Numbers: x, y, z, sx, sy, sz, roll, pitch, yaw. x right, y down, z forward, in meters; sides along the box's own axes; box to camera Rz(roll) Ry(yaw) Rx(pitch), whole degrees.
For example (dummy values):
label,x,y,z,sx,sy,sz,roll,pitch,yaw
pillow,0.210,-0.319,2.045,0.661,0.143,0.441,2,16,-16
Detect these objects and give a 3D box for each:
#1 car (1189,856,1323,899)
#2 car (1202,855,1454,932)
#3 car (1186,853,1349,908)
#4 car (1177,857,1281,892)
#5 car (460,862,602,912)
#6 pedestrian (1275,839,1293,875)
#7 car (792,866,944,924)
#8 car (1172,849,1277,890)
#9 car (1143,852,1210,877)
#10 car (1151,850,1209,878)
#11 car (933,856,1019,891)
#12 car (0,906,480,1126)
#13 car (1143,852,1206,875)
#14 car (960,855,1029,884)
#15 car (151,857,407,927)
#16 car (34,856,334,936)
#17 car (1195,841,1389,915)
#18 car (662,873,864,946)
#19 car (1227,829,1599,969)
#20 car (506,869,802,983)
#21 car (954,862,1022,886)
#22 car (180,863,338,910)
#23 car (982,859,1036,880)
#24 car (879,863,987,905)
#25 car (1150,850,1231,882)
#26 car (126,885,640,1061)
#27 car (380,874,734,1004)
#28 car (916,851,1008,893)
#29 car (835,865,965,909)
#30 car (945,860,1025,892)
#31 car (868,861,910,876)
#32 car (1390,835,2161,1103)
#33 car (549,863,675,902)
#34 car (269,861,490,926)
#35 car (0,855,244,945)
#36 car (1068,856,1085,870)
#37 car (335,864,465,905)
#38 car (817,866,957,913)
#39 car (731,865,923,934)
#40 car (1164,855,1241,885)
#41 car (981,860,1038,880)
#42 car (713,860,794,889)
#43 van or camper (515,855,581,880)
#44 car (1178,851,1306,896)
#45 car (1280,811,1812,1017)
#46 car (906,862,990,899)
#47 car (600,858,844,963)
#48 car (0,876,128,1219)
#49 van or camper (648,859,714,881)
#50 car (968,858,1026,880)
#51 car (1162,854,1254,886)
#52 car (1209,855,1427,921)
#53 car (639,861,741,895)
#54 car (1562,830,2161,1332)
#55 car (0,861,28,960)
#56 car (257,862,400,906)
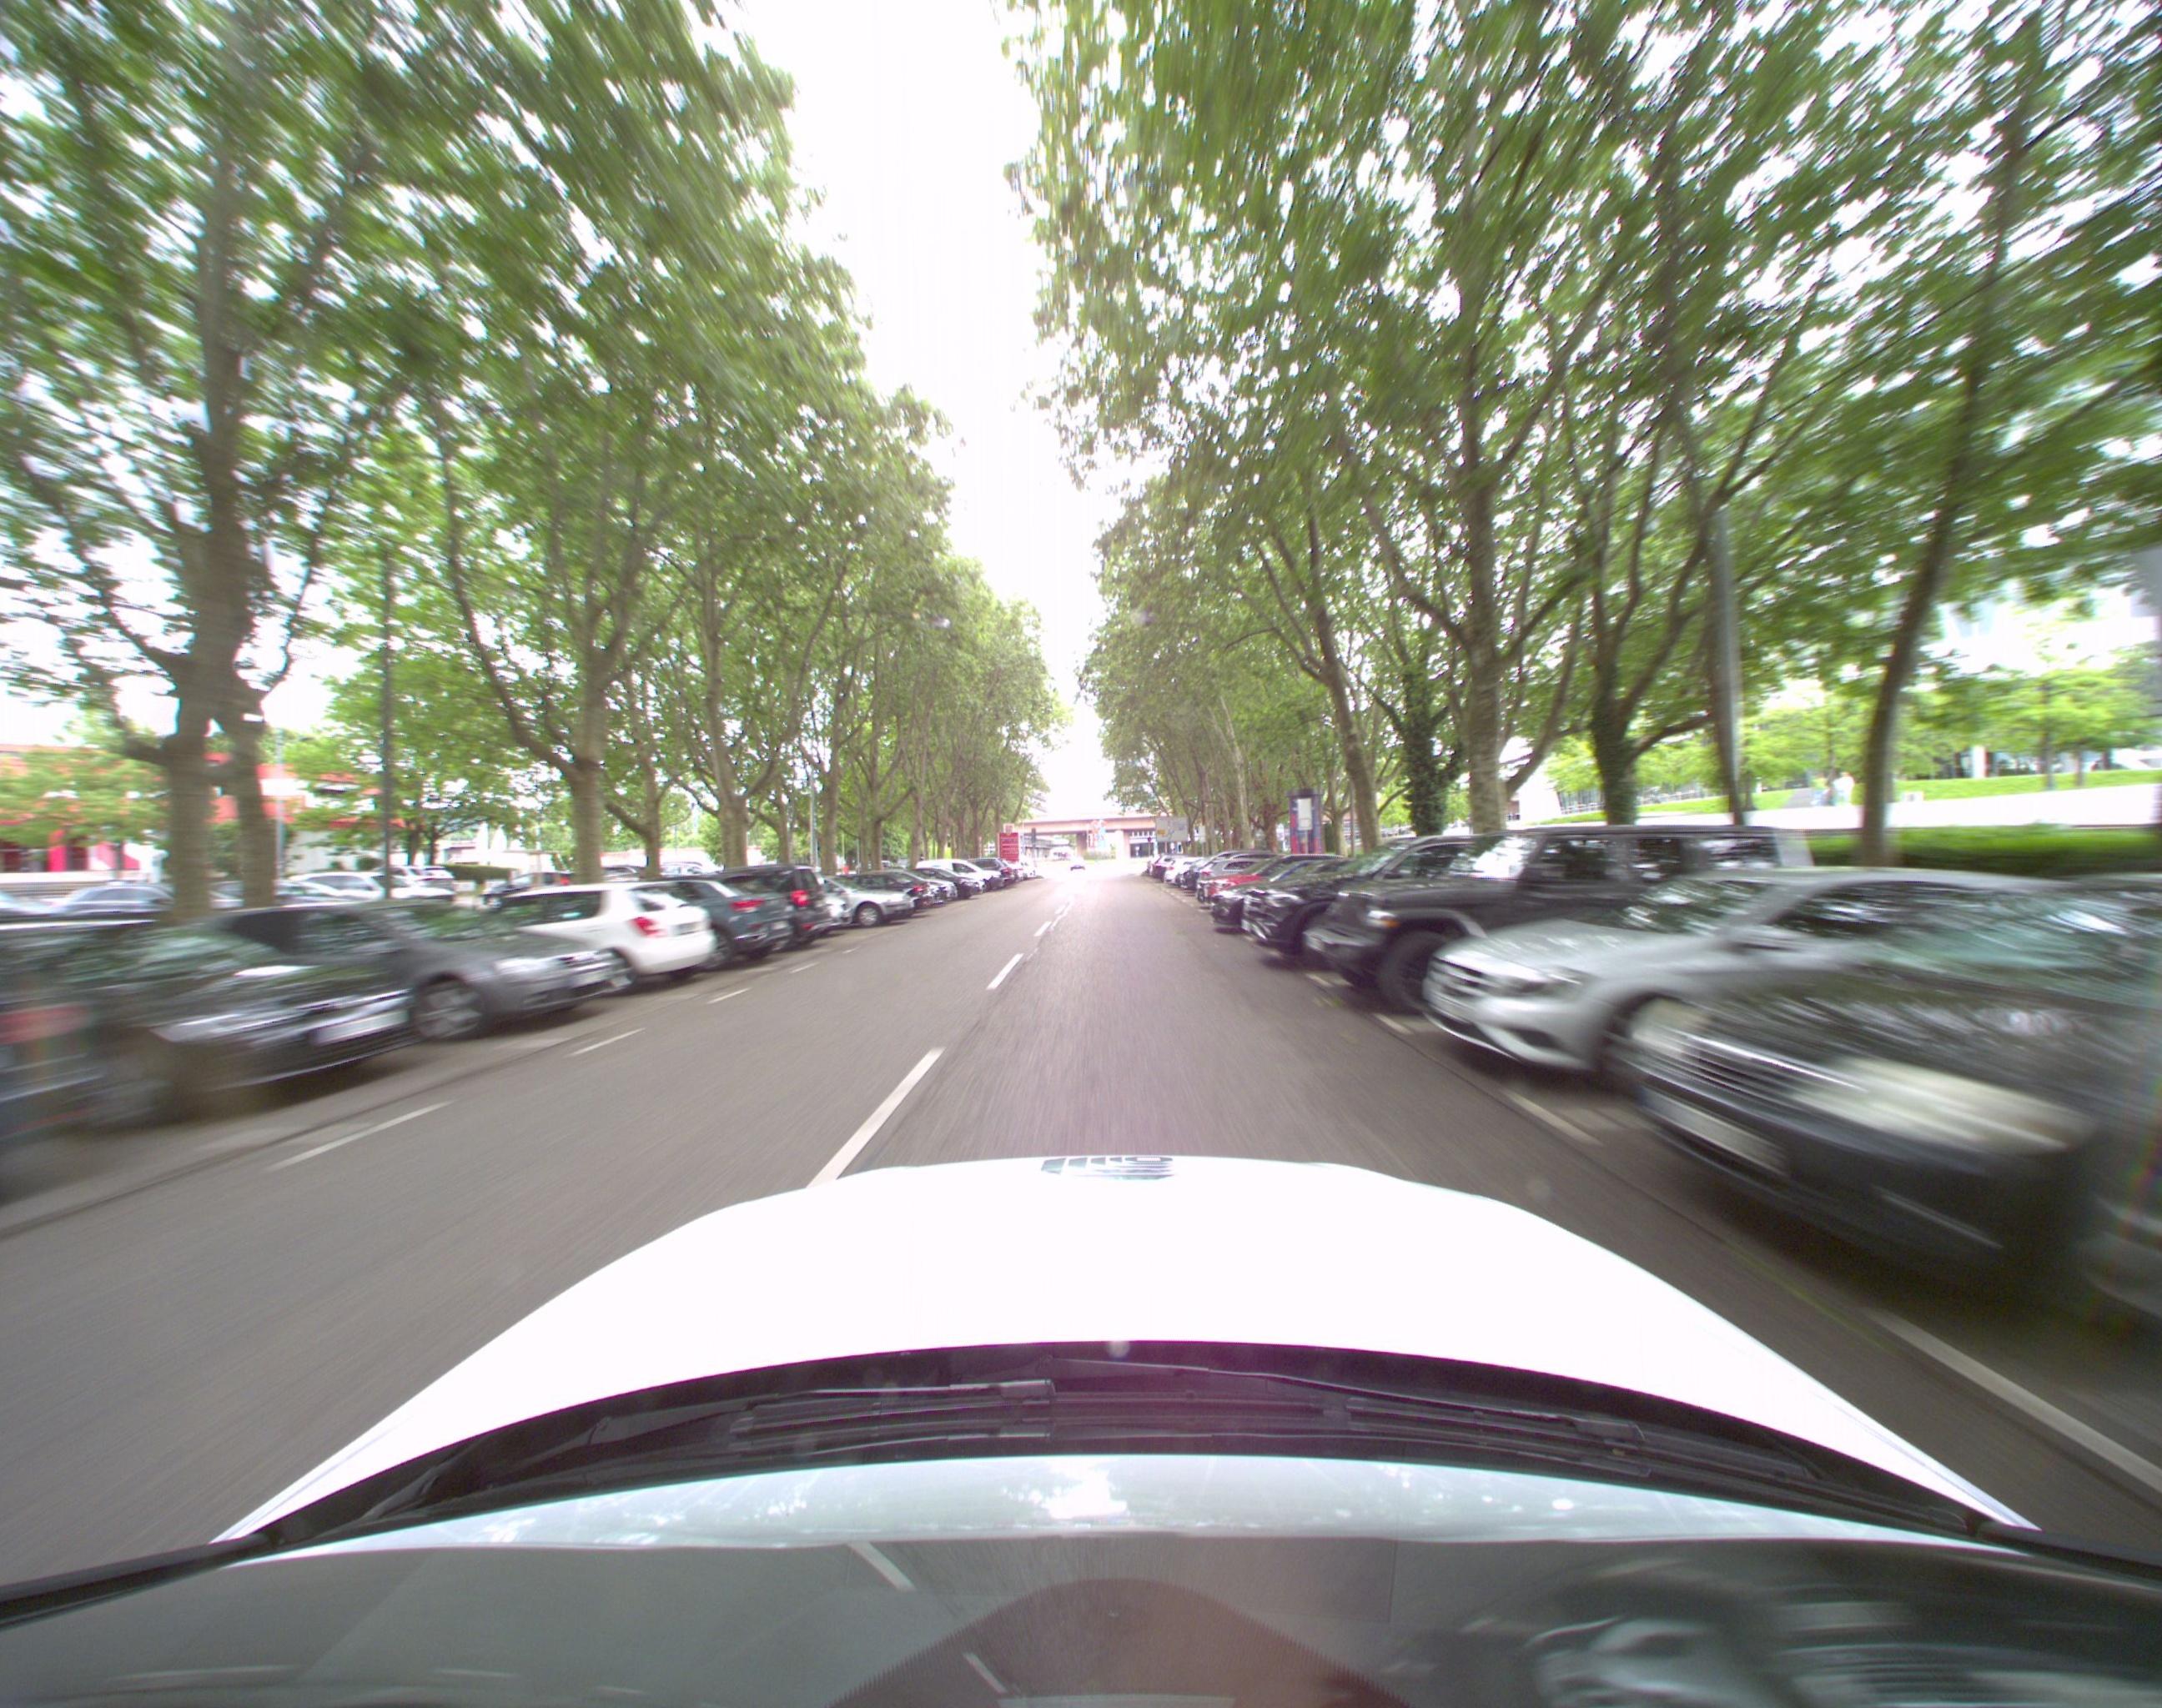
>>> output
label,x,y,z,sx,sy,sz,roll,pitch,yaw
car,6.019,0.789,28.439,4.329,1.413,1.927,0,0,2
car,4.753,0.741,16.215,4.477,1.428,1.933,0,0,2
car,5.408,0.740,23.954,4.338,1.502,1.923,0,0,-4
car,6.028,0.837,33.523,4.025,1.380,1.745,0,0,2
car,-22.125,1.297,32.892,4.306,1.861,2.028,-1,-1,0
pedestrian,11.550,0.185,46.309,0.786,2.014,0.596,-1,-1,-15
car,-6.190,1.163,23.944,3.918,1.398,1.703,-3,0,0
car,6.267,0.645,35.896,4.332,1.745,1.837,0,0,0
car,6.272,0.681,53.818,4.329,1.633,1.927,0,0,2
car,7.042,0.701,58.413,3.971,2.013,2.001,0,0,2
car,-5.623,1.043,43.939,4.301,1.795,2.037,-1,-1,2
car,-7.467,1.179,6.474,3.974,1.369,1.844,-1,-1,0
car,6.681,0.652,58.474,4.329,1.633,1.927,0,0,2
car,-5.702,1.000,53.915,4.250,1.548,1.908,-4,-1,-1
car,-22.238,1.023,22.767,4.926,1.797,2.182,-1,-1,-1
car,-22.060,0.994,20.226,4.926,1.797,2.182,-1,-1,-1
car,5.387,0.571,21.171,4.487,1.796,2.044,0,0,-5
car,-7.309,1.253,19.021,3.918,1.364,1.827,-3,0,0
car,4.465,0.575,11.539,4.479,1.796,2.048,0,0,1
car,-6.942,1.140,13.546,3.918,1.516,1.728,-3,0,0
car,-5.824,1.236,51.291,3.973,1.404,1.885,-1,-1,0
car,-34.376,1.324,34.150,4.554,1.855,2.301,-1,-1,6
car,-5.662,1.193,64.002,3.977,1.540,1.806,-1,-1,3
car,-6.082,1.207,33.650,3.960,1.421,1.758,-4,0,5
car,6.126,0.663,46.004,4.332,1.761,1.925,0,0,0
car,-7.262,1.188,8.792,3.980,1.420,1.703,-3,0,0
car,-7.333,1.161,11.611,3.973,1.485,1.706,-3,0,6
car,-5.991,0.907,41.430,4.306,1.810,1.866,-3,0,-2
car,-6.899,1.247,31.346,4.447,1.369,1.880,-3,0,1
car,-5.437,1.234,46.376,4.111,1.452,2.015,-4,0,3
car,-20.347,1.526,86.443,3.971,1.523,2.003,-1,-1,2
car,4.839,0.673,5.925,4.474,1.572,2.050,0,0,4
car,-21.890,1.304,38.153,4.536,1.725,2.297,-1,-1,0
car,-21.844,1.201,25.547,4.927,1.797,2.182,-2,0,-1
car,-21.907,0.966,17.787,4.926,1.797,2.182,-1,-1,-1
car,-0.510,1.060,97.026,1.836,1.510,4.015,-1,-1,0
car,-32.813,1.428,39.319,4.554,1.855,2.301,-1,-1,6
car,-6.873,1.263,29.151,4.444,1.347,1.903,-3,0,3
car,-6.615,1.163,21.514,4.448,1.482,1.703,-3,0,0
car,6.064,0.794,40.924,3.629,1.427,1.664,0,0,-2
car,-5.417,1.195,61.583,3.974,1.385,1.914,-1,-1,5
car,-21.120,1.309,52.607,4.306,1.709,2.132,-1,-1,0
van or camper,-44.770,1.103,68.522,1.986,2.014,5.304,-1,-1,1
car,6.011,0.718,30.801,4.571,1.639,1.874,0,0,3
car,4.589,0.538,8.571,4.483,1.866,2.046,0,0,-2
car,-6.306,1.223,38.735,3.782,1.472,1.759,-3,0,-9
car,-6.931,1.058,16.015,3.918,1.708,1.752,-3,0,0
car,-7.344,0.987,3.681,3.971,1.682,1.857,-1,-1,2
van or camper,-32.661,1.307,66.610,4.306,1.709,2.132,-1,-1,0
car,-6.060,1.070,59.066,3.979,1.493,1.833,-1,-1,1
car,5.959,0.739,38.430,4.132,1.458,1.728,0,0,2
car,5.266,0.743,18.570,4.476,1.420,1.830,0,0,3
car,-21.568,1.322,45.104,4.502,1.762,2.297,-1,-1,1
car,4.587,0.707,3.355,4.180,1.518,1.785,0,-1,1
car,-22.075,1.102,14.009,4.927,1.797,2.182,-2,0,-1
car,-33.972,1.345,36.845,4.554,1.855,2.301,-1,-1,6
